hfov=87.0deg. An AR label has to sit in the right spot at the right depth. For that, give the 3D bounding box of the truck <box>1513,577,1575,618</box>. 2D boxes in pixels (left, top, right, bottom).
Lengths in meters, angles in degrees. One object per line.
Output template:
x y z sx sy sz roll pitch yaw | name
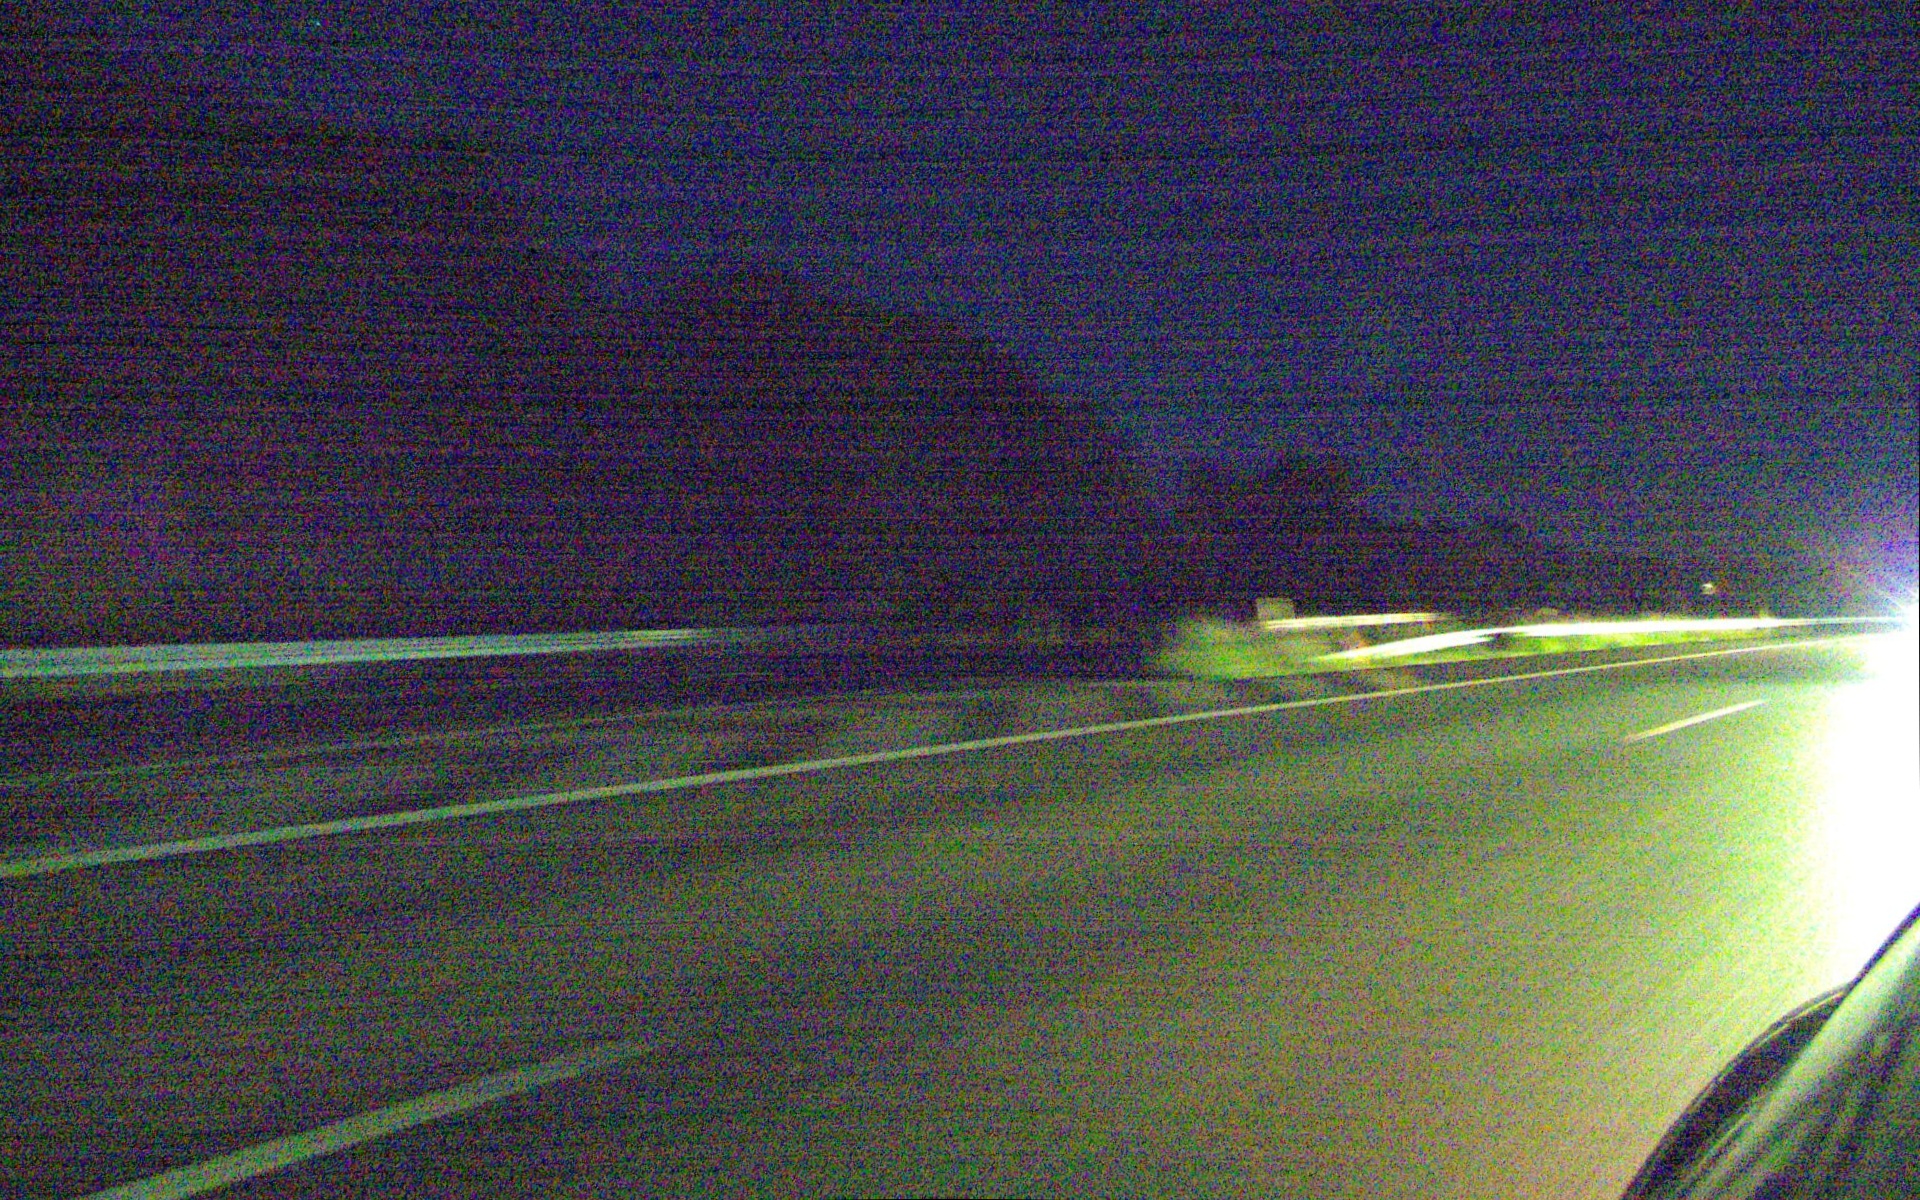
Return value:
54.137 -0.238 93.972 2.488 3.695 6.202 -1 0 4 | truck

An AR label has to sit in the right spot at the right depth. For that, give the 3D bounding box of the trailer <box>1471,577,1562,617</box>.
54.536 -0.277 99.766 2.497 3.711 12.983 -1 0 4 | trailer

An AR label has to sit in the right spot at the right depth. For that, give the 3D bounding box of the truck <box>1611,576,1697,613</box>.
77.207 -0.576 112.861 3.003 3.975 9.658 -1 0 2 | truck

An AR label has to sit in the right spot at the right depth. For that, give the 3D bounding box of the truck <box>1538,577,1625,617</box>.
62.218 -0.267 101.635 3.003 3.735 9.658 -1 0 2 | truck

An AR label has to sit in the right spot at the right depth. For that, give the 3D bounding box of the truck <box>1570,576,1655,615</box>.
70.309 -0.486 109.376 3.003 3.975 9.658 -1 0 2 | truck

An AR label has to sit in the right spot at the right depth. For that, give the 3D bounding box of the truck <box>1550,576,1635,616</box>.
66.080 -0.433 106.025 3.003 3.975 9.658 -1 0 2 | truck

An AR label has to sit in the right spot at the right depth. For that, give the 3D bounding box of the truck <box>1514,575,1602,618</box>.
58.211 -0.336 98.891 3.003 3.975 9.658 -1 0 2 | truck

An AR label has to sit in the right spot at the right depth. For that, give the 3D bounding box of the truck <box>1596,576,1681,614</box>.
73.856 -0.534 110.403 2.905 3.975 9.658 -1 0 2 | truck
